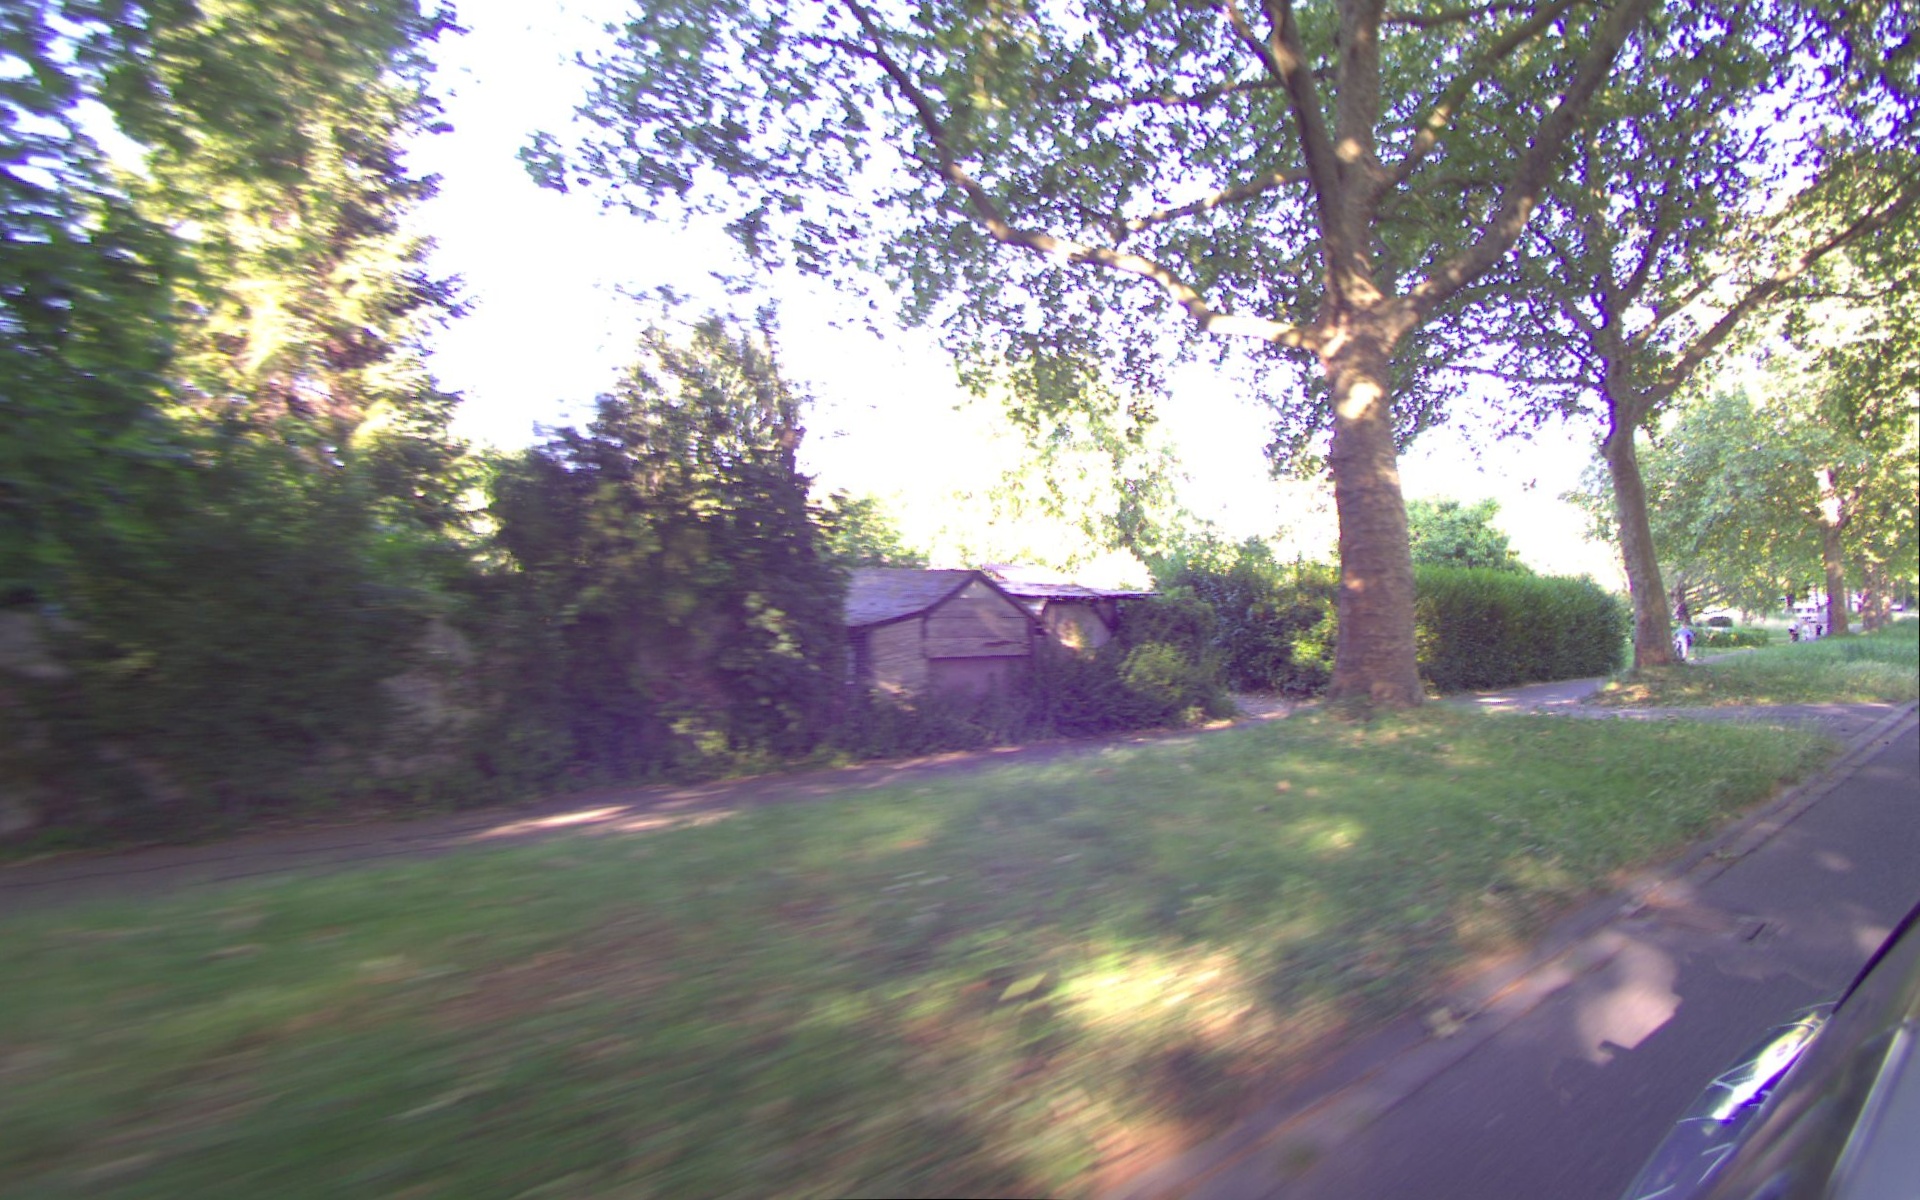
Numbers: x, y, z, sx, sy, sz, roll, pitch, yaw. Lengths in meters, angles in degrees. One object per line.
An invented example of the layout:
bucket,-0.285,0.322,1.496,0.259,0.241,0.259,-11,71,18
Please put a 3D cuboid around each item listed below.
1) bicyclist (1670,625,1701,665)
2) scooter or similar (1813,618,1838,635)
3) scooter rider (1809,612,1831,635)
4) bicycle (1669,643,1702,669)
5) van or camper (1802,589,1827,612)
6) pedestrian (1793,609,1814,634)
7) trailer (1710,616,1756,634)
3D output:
bicyclist,26.144,1.594,36.474,0.757,1.383,0.735,0,0,-40
scooter or similar,60.414,1.853,70.647,1.567,1.149,0.341,0,0,-5
scooter rider,60.126,1.623,70.744,0.827,1.596,0.786,0,-1,-9
bicycle,26.193,2.026,36.522,1.855,0.827,0.553,-1,0,-41
van or camper,108.933,0.066,129.079,2.378,2.835,5.602,0,1,40
pedestrian,54.683,1.381,65.602,0.770,1.596,0.844,0,0,-36
trailer,48.488,1.572,63.475,1.180,1.066,2.121,-1,1,-40
